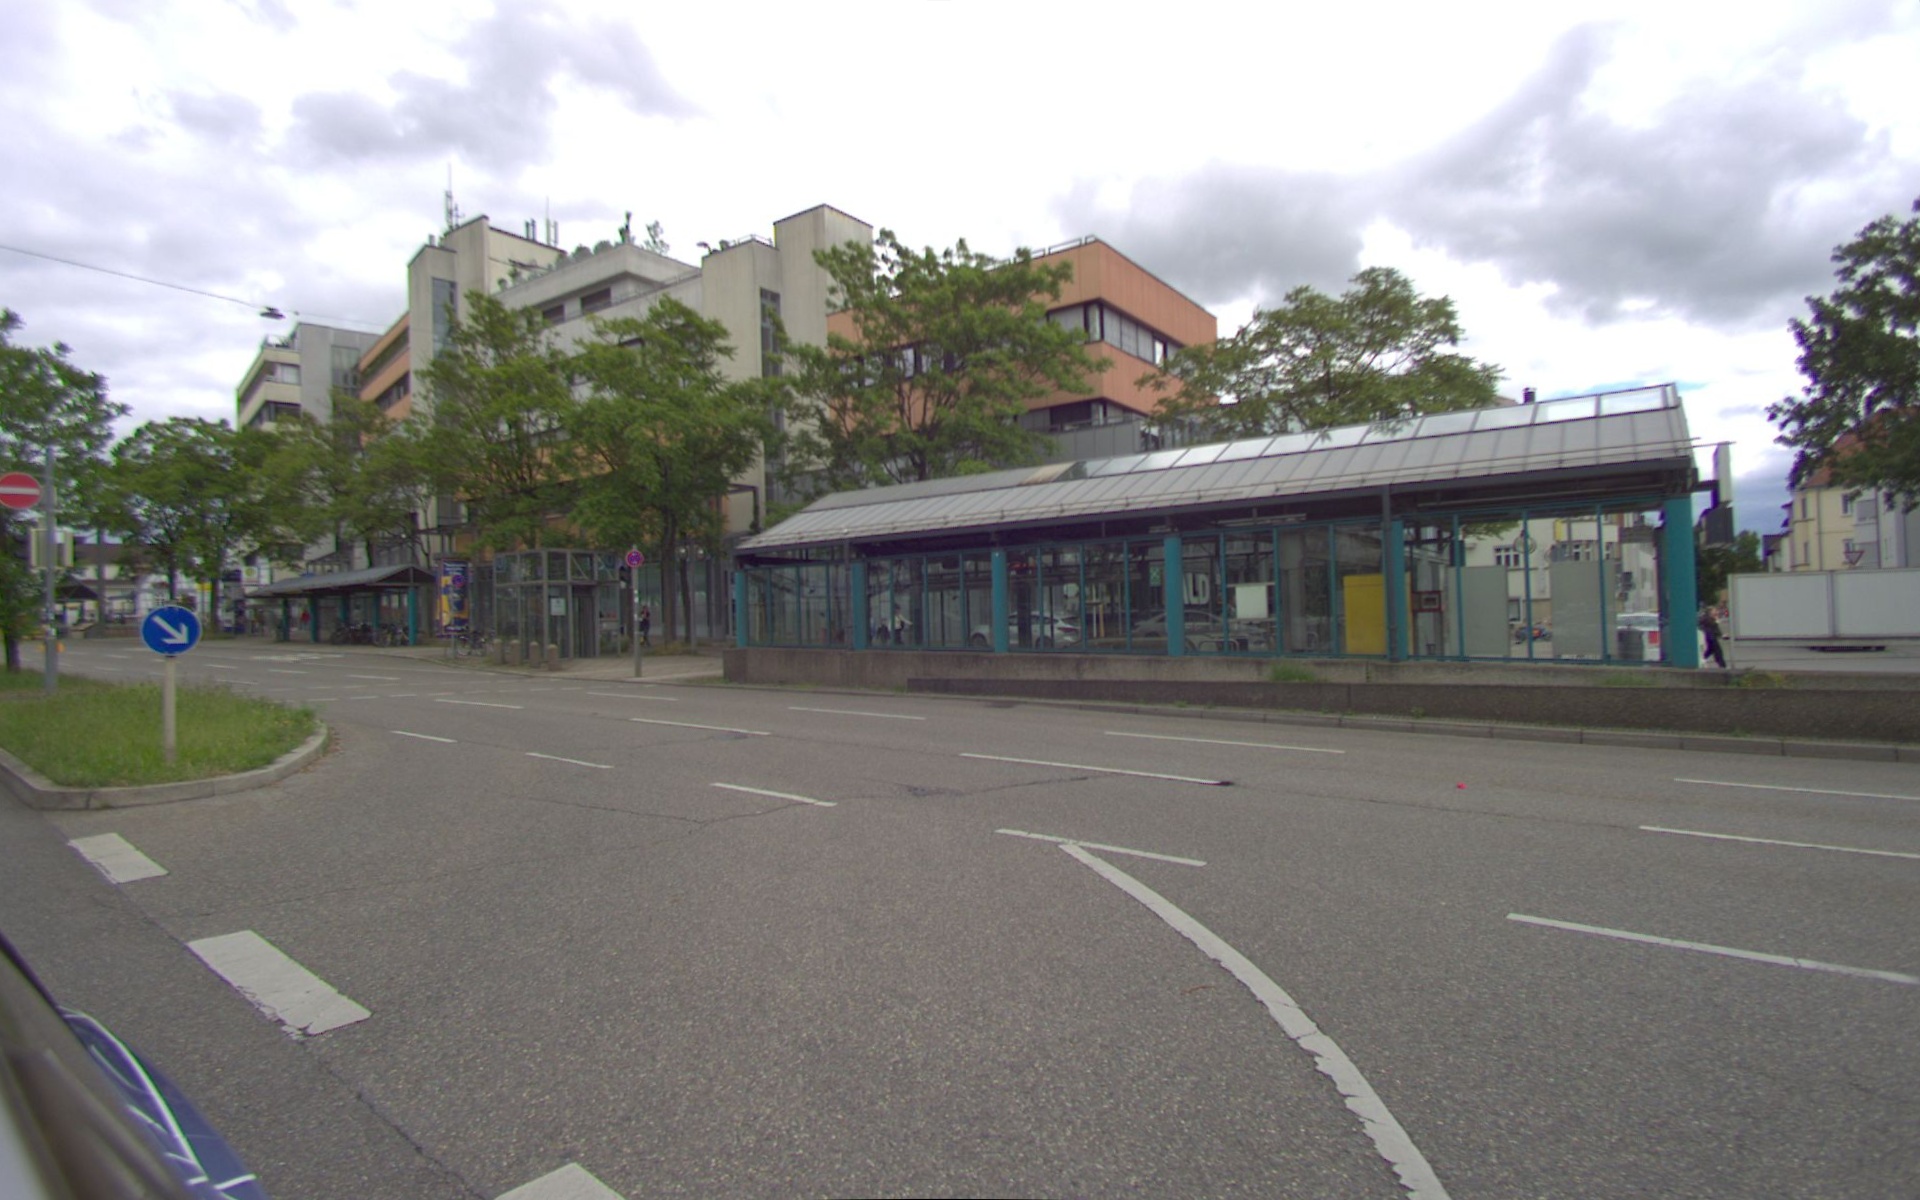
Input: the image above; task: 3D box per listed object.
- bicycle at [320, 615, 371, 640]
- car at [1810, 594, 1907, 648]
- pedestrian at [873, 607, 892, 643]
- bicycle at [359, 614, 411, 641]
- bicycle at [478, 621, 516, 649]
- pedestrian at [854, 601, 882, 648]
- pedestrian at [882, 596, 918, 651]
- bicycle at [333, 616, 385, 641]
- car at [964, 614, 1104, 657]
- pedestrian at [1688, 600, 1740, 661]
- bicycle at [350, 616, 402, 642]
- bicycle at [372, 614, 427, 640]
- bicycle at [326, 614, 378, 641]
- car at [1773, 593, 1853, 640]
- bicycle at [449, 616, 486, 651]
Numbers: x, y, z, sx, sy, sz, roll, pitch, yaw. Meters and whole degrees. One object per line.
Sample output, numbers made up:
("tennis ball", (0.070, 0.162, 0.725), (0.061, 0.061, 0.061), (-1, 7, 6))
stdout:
("bicycle", (-29.921, 1.331, 49.328), (0.542, 1.098, 2.044), (-1, 1, 39))
("car", (31.436, 0.686, 35.544), (1.995, 1.696, 3.954), (-1, 1, 34))
("pedestrian", (-2.610, 0.836, 33.992), (0.514, 1.201, 0.378), (-1, -1, 42))
("bicycle", (-26.518, 1.249, 46.677), (0.541, 1.147, 2.047), (-1, 1, 34))
("bicycle", (-17.733, 1.318, 38.772), (2.049, 1.034, 0.514), (-1, 1, 41))
("pedestrian", (-3.134, 0.825, 34.447), (0.638, 1.558, 0.679), (-1, -1, 39))
("pedestrian", (-1.867, 0.714, 31.417), (0.827, 1.692, 0.769), (-1, -1, 41))
("bicycle", (-28.568, 1.354, 48.150), (0.542, 1.098, 2.044), (-1, 1, 39))
("car", (2.514, 1.188, 35.083), (4.714, 1.411, 1.673), (-1, -1, 38))
("pedestrian", (18.823, 0.750, 25.271), (0.991, 1.472, 0.584), (-1, 0, 40))
("bicycle", (-27.365, 1.331, 47.455), (0.541, 1.098, 2.047), (-1, 1, 34))
("bicycle", (-25.632, 1.219, 46.313), (0.541, 1.098, 2.182), (-1, 1, 34))
("bicycle", (-29.251, 1.312, 48.702), (0.542, 1.147, 2.044), (-1, 1, 39))
("car", (34.108, 0.642, 40.567), (1.995, 1.696, 3.954), (-1, 1, 34))
("bicycle", (-18.303, 1.238, 37.584), (1.948, 1.234, 0.514), (-1, 1, 41))
